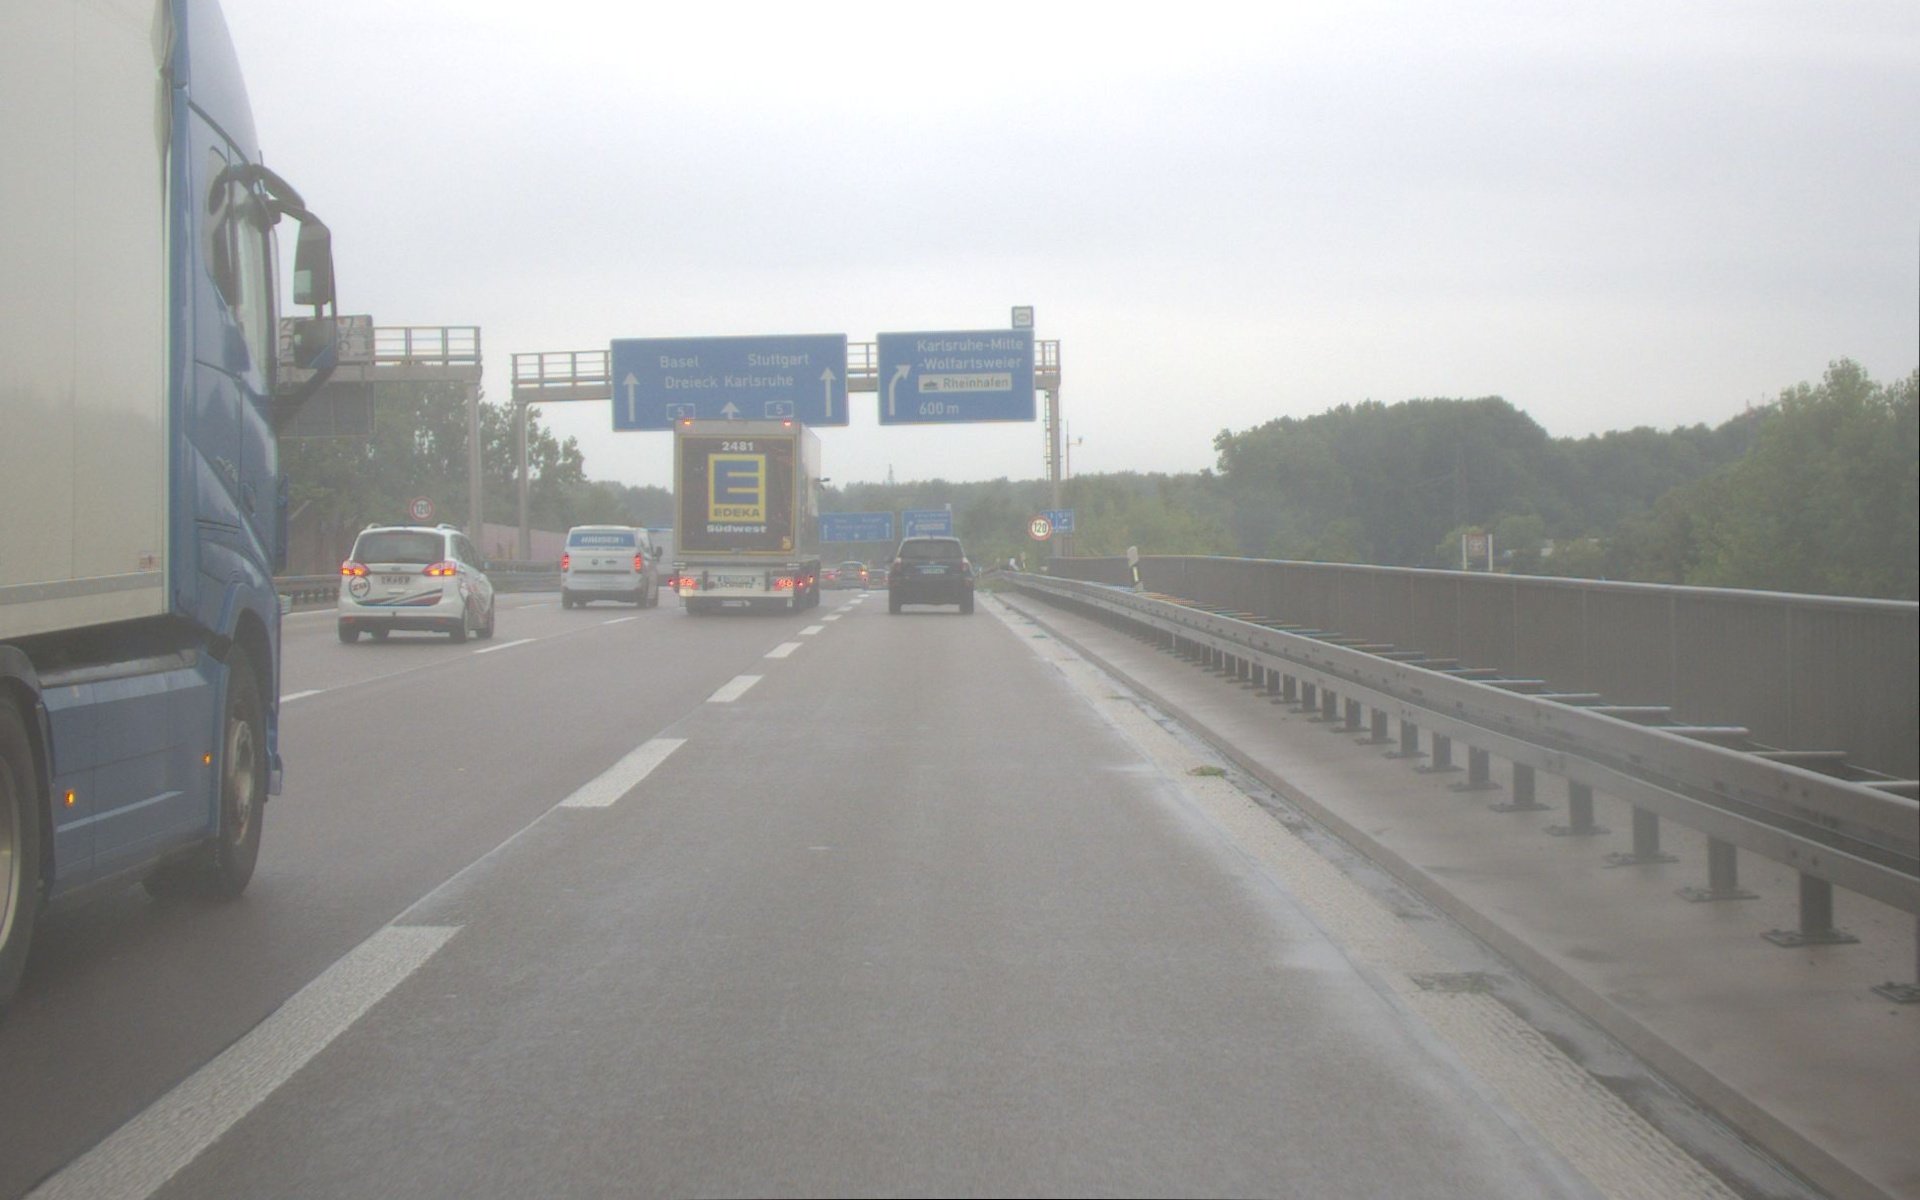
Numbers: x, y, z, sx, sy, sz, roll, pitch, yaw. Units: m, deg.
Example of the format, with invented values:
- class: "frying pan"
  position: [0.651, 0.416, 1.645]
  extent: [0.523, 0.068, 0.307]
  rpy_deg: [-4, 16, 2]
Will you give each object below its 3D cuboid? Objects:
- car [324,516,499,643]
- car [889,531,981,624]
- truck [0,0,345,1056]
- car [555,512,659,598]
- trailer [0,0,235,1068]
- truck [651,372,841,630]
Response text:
- class: "car"
  position: [-7.832, -0.299, 49.391]
  extent: [1.894, 1.718, 4.000]
  rpy_deg: [1, 0, -1]
- class: "car"
  position: [-0.524, -0.481, 74.826]
  extent: [1.897, 1.943, 4.000]
  rpy_deg: [1, 0, 1]
- class: "truck"
  position: [-3.915, -0.839, 12.239]
  extent: [2.342, 4.143, 6.347]
  rpy_deg: [0, 1, -1]
- class: "car"
  position: [-8.269, -1.050, 80.876]
  extent: [2.049, 1.943, 4.000]
  rpy_deg: [1, 0, -1]
- class: "trailer"
  position: [-3.796, -0.676, 5.300]
  extent: [2.342, 4.143, 14.828]
  rpy_deg: [0, 1, -1]
- class: "truck"
  position: [-4.514, -2.041, 74.589]
  extent: [3.533, 5.165, 9.893]
  rpy_deg: [1, 0, -1]
